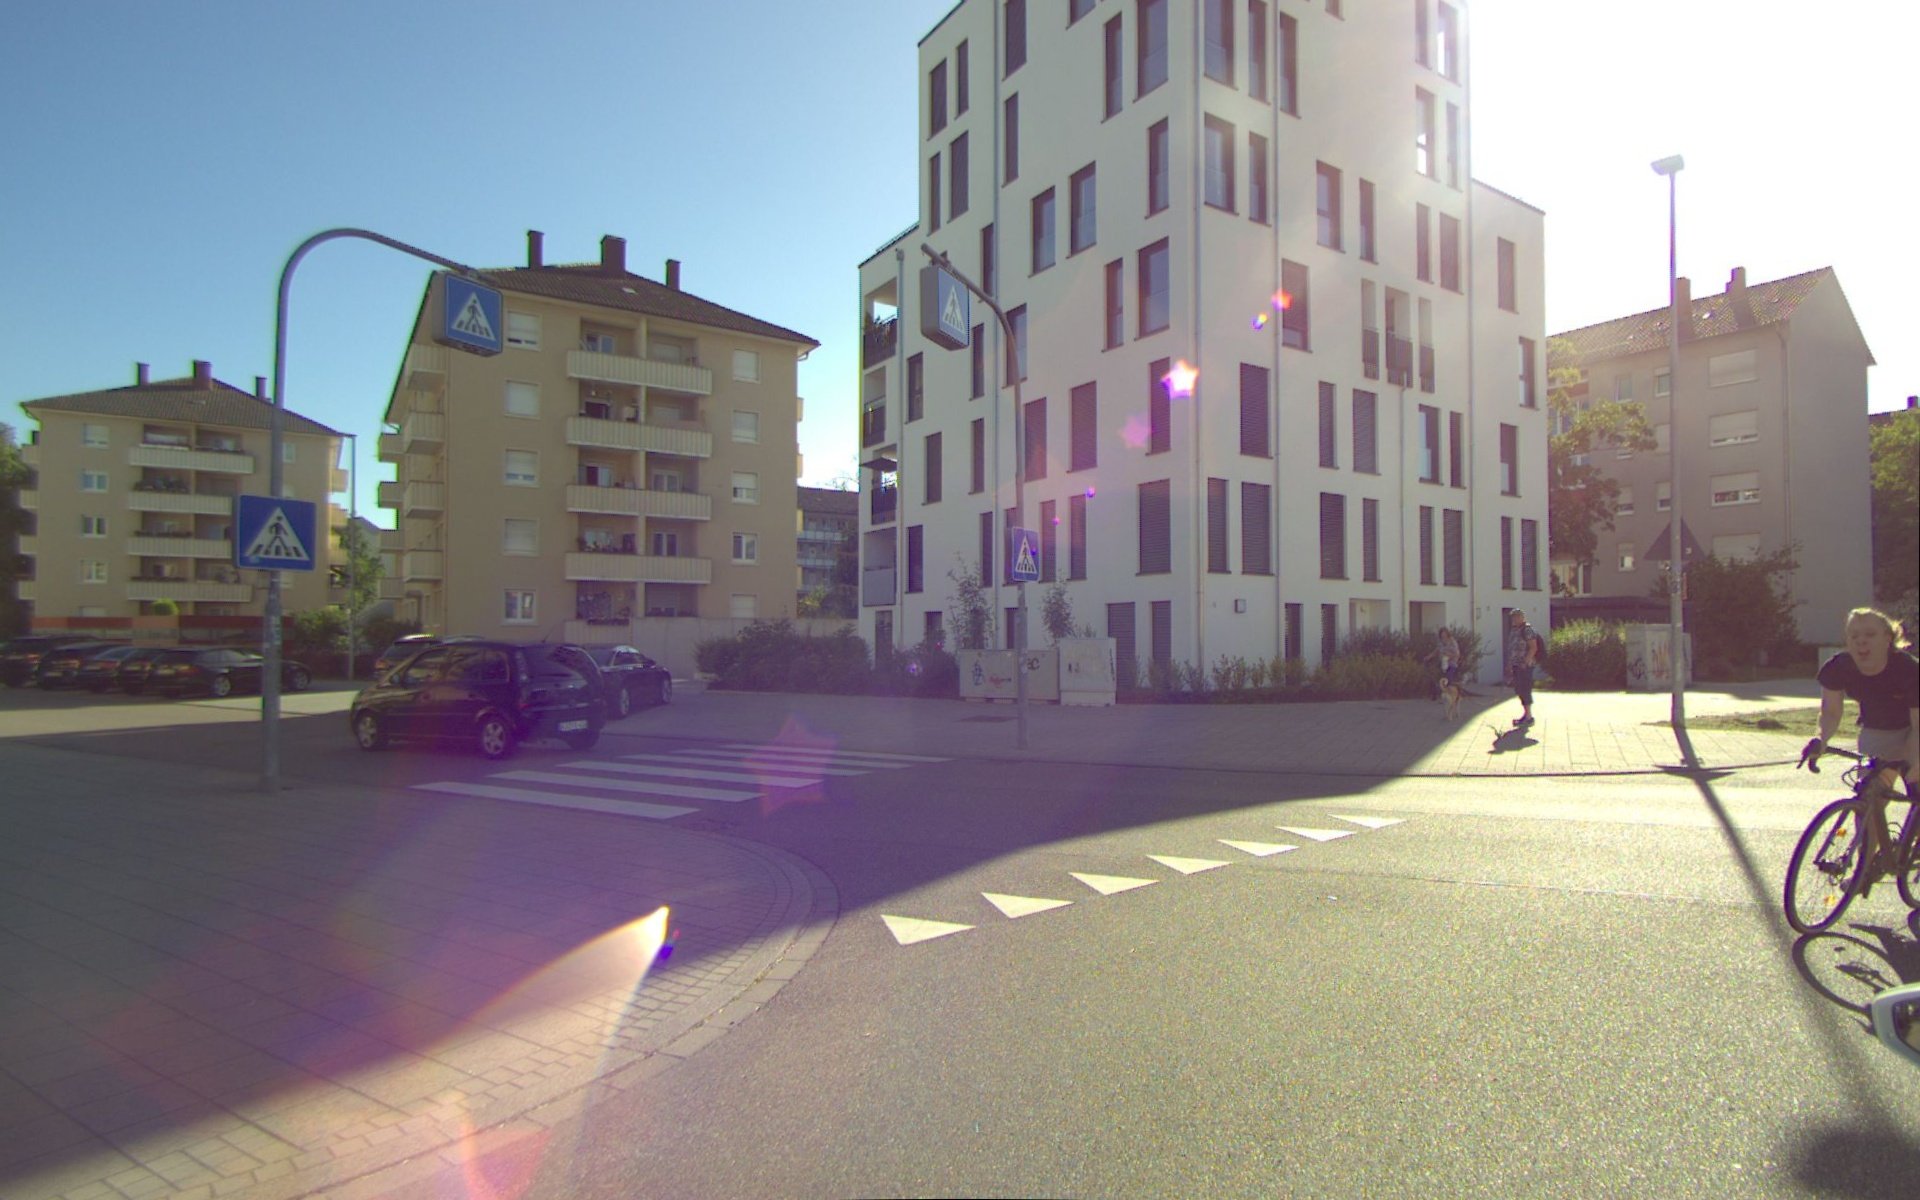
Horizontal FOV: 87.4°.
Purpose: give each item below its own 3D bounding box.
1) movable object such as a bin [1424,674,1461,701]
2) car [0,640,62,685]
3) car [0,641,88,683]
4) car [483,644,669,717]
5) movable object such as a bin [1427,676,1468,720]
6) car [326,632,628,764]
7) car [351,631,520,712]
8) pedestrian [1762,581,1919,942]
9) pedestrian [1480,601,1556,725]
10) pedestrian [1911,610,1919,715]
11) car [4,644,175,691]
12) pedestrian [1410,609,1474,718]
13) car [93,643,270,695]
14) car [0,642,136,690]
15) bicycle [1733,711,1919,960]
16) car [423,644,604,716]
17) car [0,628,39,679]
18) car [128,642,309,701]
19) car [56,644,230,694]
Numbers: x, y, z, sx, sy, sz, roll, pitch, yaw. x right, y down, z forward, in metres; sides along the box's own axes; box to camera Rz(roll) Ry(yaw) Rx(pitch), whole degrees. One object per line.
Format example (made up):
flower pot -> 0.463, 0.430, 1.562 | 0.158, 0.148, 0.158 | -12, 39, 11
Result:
movable object such as a bin -> 10.126, 1.834, 21.081 | 0.674, 0.549, 0.272 | 1, -1, -14
car -> -38.625, 2.479, 39.852 | 1.960, 1.661, 4.001 | 2, -1, 17
car -> -36.302, 2.355, 38.482 | 1.959, 1.416, 4.003 | 2, -1, 10
car -> -7.753, 1.587, 20.812 | 1.960, 1.182, 4.565 | -1, -1, 2
movable object such as a bin -> 8.209, 1.644, 16.903 | 0.841, 0.688, 0.269 | 1, -2, -38
car -> -7.012, 1.311, 14.566 | 4.036, 1.550, 1.742 | 1, -1, 25
car -> -12.373, 1.635, 24.012 | 1.961, 1.673, 4.000 | -1, -1, -1
pedestrian -> 4.762, 0.758, 5.119 | 1.033, 1.662, 0.687 | 2, 0, -29
pedestrian -> 8.969, 0.981, 16.138 | 0.786, 1.910, 0.835 | 2, 0, -44
pedestrian -> 16.372, 1.027, 16.544 | 0.970, 1.737, 0.864 | 1, -2, -37
car -> -29.088, 2.225, 33.741 | 1.959, 1.327, 4.003 | 1, -1, 10
pedestrian -> 9.680, 1.266, 20.206 | 0.939, 2.149, 0.776 | -1, -1, 10
car -> -23.740, 2.065, 30.831 | 1.959, 1.327, 4.003 | 1, -1, 10
car -> -31.677, 2.271, 35.306 | 1.960, 1.272, 4.001 | 2, 1, 5
bicycle -> 4.788, 1.135, 5.218 | 1.896, 1.025, 0.546 | 2, -2, -30
car -> -9.998, 1.751, 22.939 | 1.960, 1.450, 4.566 | -1, -2, 2
car -> -40.787, 2.204, 41.206 | 1.959, 2.040, 4.003 | 2, -1, 12
car -> -21.193, 1.996, 28.928 | 1.959, 1.420, 4.002 | 2, -1, 6
car -> -26.065, 2.164, 32.241 | 1.959, 1.327, 4.003 | 1, -1, 10
